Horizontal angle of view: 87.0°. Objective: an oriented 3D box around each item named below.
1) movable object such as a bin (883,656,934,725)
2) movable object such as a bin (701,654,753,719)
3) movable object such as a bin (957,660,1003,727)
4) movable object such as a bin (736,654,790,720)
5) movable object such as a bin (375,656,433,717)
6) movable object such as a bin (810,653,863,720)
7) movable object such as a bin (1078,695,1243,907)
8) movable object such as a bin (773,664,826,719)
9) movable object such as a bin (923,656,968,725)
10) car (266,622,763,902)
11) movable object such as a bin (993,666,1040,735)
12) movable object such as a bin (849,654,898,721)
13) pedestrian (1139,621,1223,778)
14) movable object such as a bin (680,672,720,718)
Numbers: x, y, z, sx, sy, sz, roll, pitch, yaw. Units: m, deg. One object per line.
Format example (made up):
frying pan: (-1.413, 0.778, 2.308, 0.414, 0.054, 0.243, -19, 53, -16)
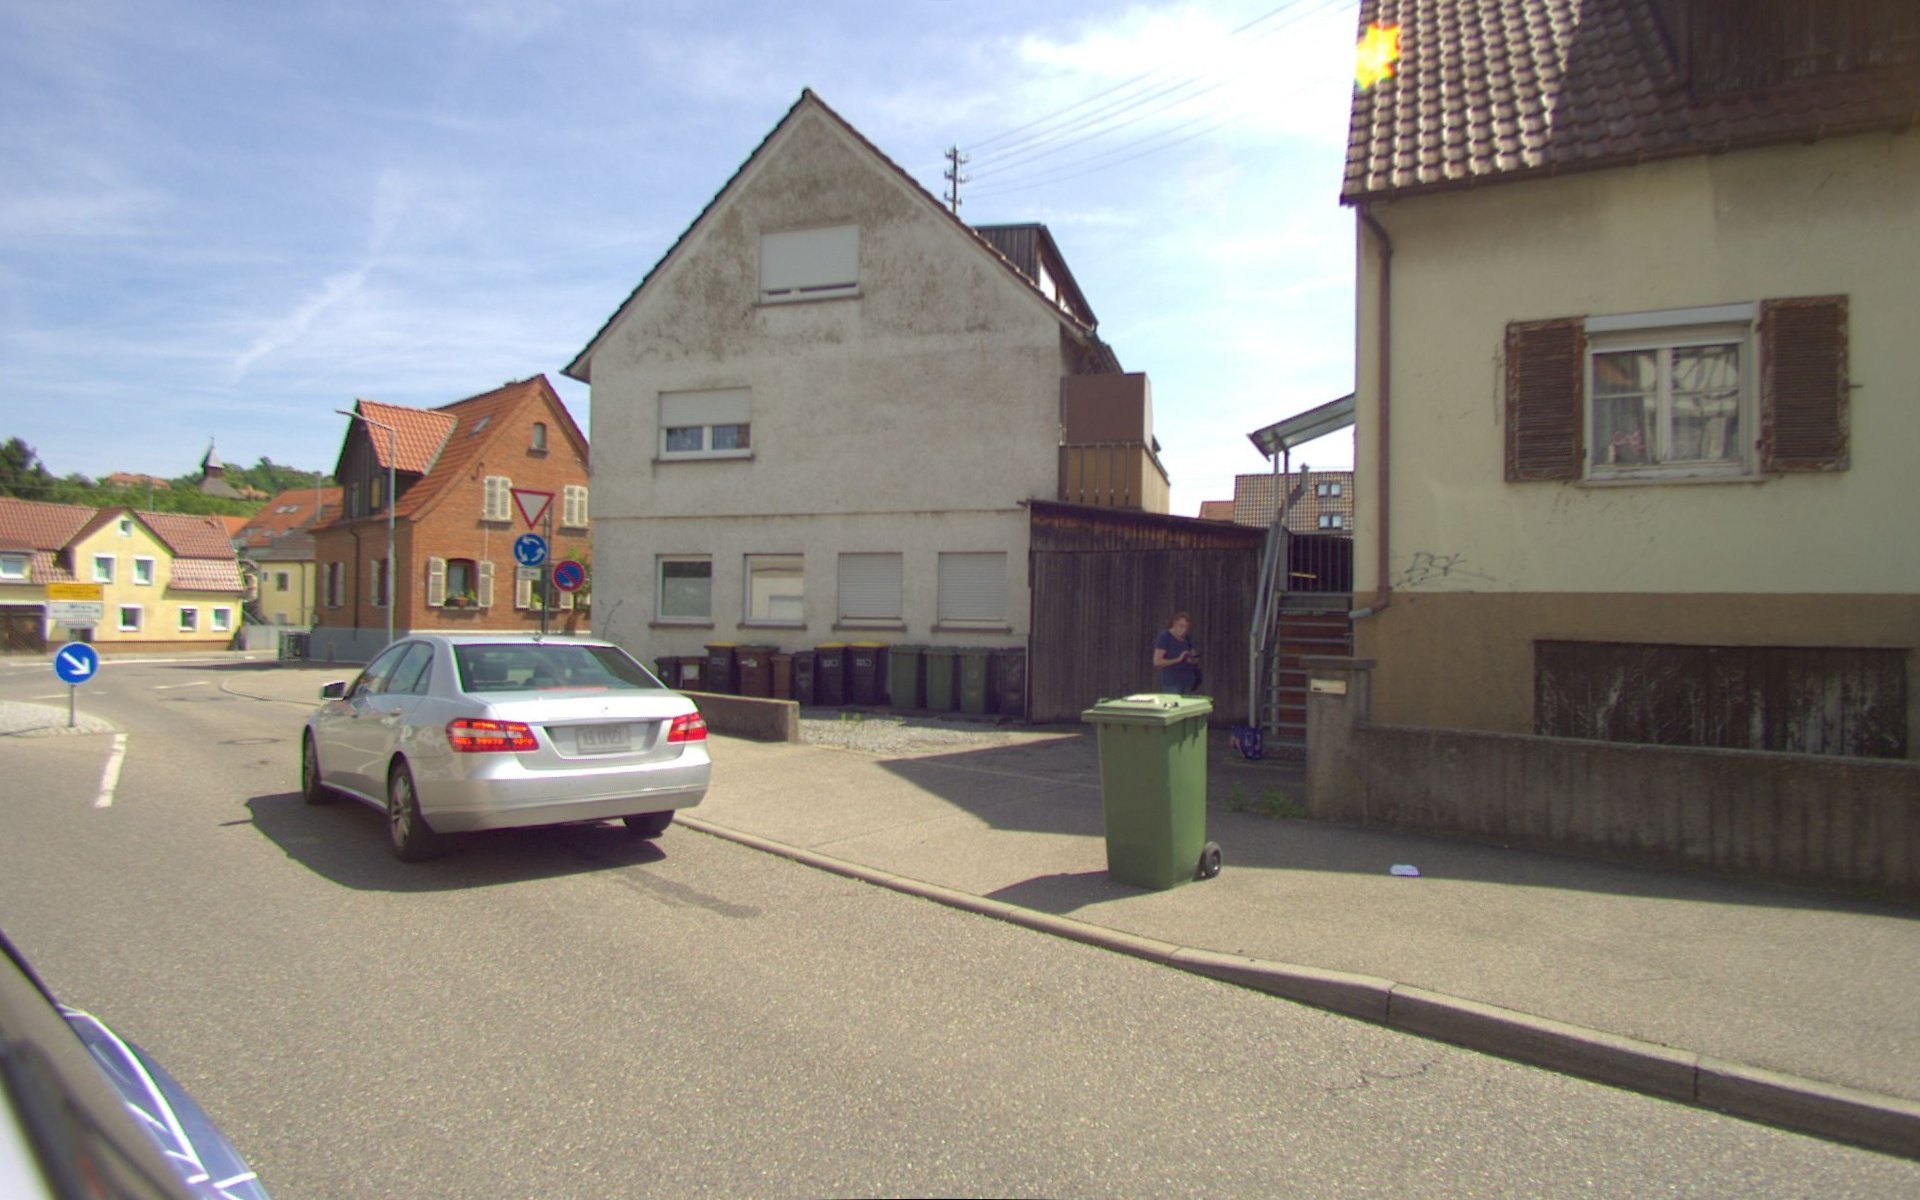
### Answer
movable object such as a bin: (-0.843, 1.485, 16.745, 0.654, 1.090, 0.737, -1, -2, 16)
movable object such as a bin: (-4.088, 1.506, 17.770, 0.639, 1.094, 0.681, -1, -2, 16)
movable object such as a bin: (0.331, 1.507, 16.394, 0.598, 1.043, 0.626, -1, -2, 16)
movable object such as a bin: (-3.420, 1.496, 17.583, 0.692, 1.094, 0.681, -1, -2, 16)
movable object such as a bin: (-10.068, 1.545, 18.321, 0.798, 1.053, 0.828, 1, -3, -38)
movable object such as a bin: (-2.083, 1.445, 17.161, 0.692, 1.090, 0.681, -1, -2, 16)
movable object such as a bin: (1.172, 1.114, 5.883, 0.650, 1.065, 0.783, -2, -4, 38)
movable object such as a bin: (-2.748, 1.564, 17.384, 0.692, 0.903, 0.681, -1, -2, 16)
movable object such as a bin: (-0.234, 1.466, 16.579, 0.578, 1.090, 0.677, -1, -2, 16)
car: (-3.604, 0.995, 7.726, 4.461, 1.497, 1.933, -2, -5, 45)
movable object such as a bin: (0.895, 1.573, 15.979, 0.607, 1.042, 0.627, -1, -2, 16)
movable object such as a bin: (-1.450, 1.455, 16.983, 0.620, 1.090, 0.681, -1, -2, 16)
pedestrian: (2.362, 1.030, 10.793, 0.626, 1.586, 0.770, -2, -3, 33)
movable object such as a bin: (-4.637, 1.682, 18.042, 0.522, 0.786, 0.484, -1, -2, 16)
